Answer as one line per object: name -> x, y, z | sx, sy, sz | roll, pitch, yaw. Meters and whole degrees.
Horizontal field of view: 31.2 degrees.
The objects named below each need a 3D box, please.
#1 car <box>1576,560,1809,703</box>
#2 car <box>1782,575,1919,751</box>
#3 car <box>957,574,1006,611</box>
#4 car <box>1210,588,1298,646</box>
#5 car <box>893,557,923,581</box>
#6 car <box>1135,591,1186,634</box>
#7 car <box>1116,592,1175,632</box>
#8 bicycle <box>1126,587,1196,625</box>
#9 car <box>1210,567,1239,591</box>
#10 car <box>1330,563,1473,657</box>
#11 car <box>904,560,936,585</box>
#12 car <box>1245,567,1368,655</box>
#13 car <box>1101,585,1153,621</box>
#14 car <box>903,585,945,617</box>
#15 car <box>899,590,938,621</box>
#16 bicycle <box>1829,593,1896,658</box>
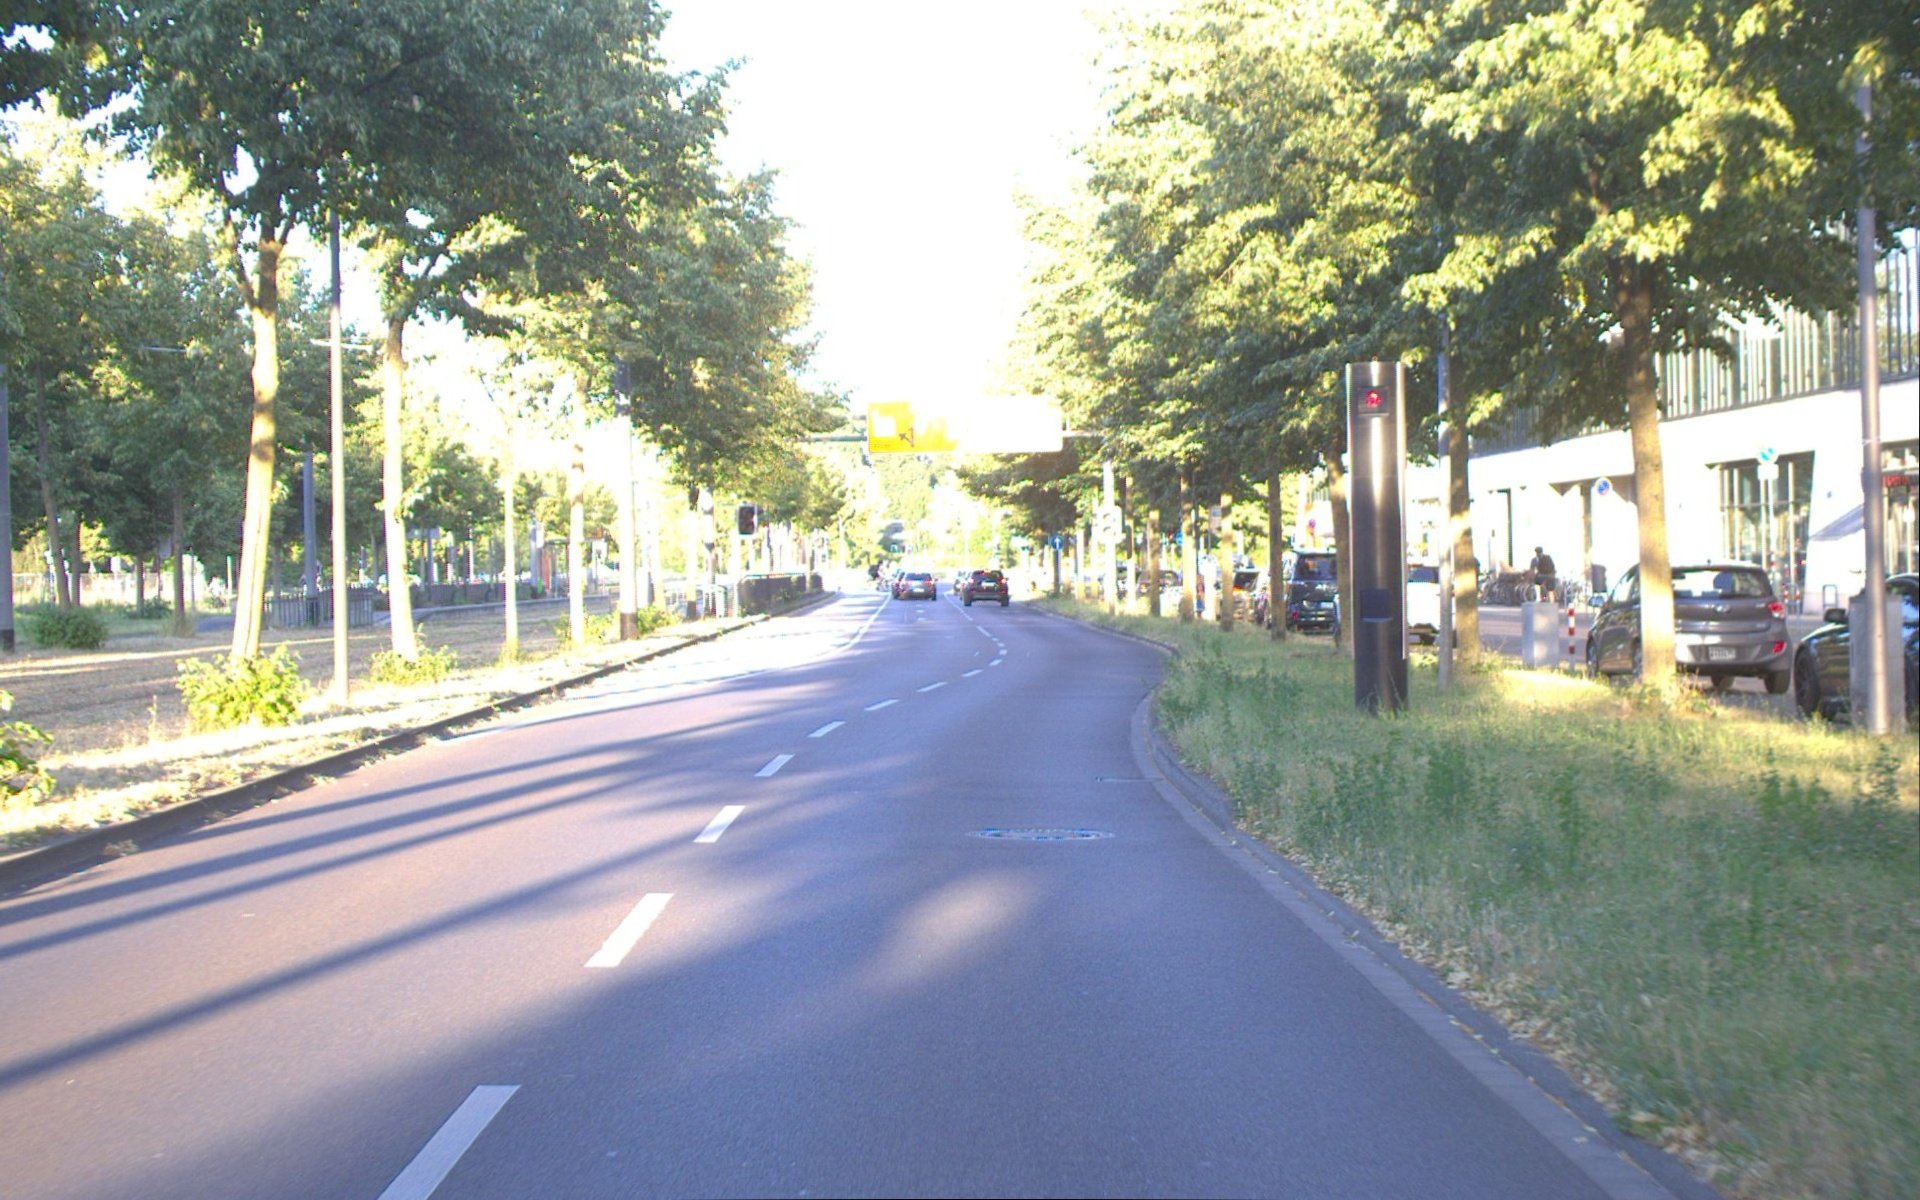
car -> 8.235, 0.329, 38.950 | 1.709, 1.510, 3.759 | 1, 0, -2
car -> 8.516, 0.485, 28.814 | 1.852, 1.362, 4.835 | -2, 1, -3
car -> 0.869, -0.327, 141.891 | 1.911, 1.481, 4.000 | -1, 0, -1
car -> 7.568, 0.421, 88.919 | 1.869, 1.406, 4.646 | -1, 0, 0
car -> -3.426, -2.033, 224.377 | 1.911, 1.481, 4.000 | -1, 0, -1
car -> 7.111, 0.431, 122.167 | 1.575, 1.467, 3.881 | -1, 0, 0
car -> 6.942, 0.448, 128.919 | 1.777, 1.467, 4.288 | -1, 0, -3
bicycle -> 5.930, 0.172, 101.304 | 1.941, 1.050, 0.545 | 3, 0, -8
car -> 19.845, -1.593, 257.808 | 1.994, 1.722, 4.000 | -1, 0, 3
car -> 8.127, 0.178, 63.643 | 1.993, 1.637, 4.878 | -1, 0, 0
car -> -2.444, -1.675, 209.128 | 1.911, 1.481, 4.000 | -1, 0, -1
car -> 7.624, 0.234, 76.020 | 1.993, 1.845, 4.666 | -1, 0, -3
car -> 6.974, 0.135, 144.027 | 1.756, 1.461, 4.159 | -1, 0, -3
car -> -1.736, 0.055, 165.012 | 1.911, 1.481, 4.000 | -1, 0, -1
car -> -2.102, 0.280, 172.799 | 1.911, 1.481, 4.000 | -1, 0, -1
bicycle -> 14.941, 0.412, 56.973 | 0.594, 1.036, 1.892 | -1, 0, 0
